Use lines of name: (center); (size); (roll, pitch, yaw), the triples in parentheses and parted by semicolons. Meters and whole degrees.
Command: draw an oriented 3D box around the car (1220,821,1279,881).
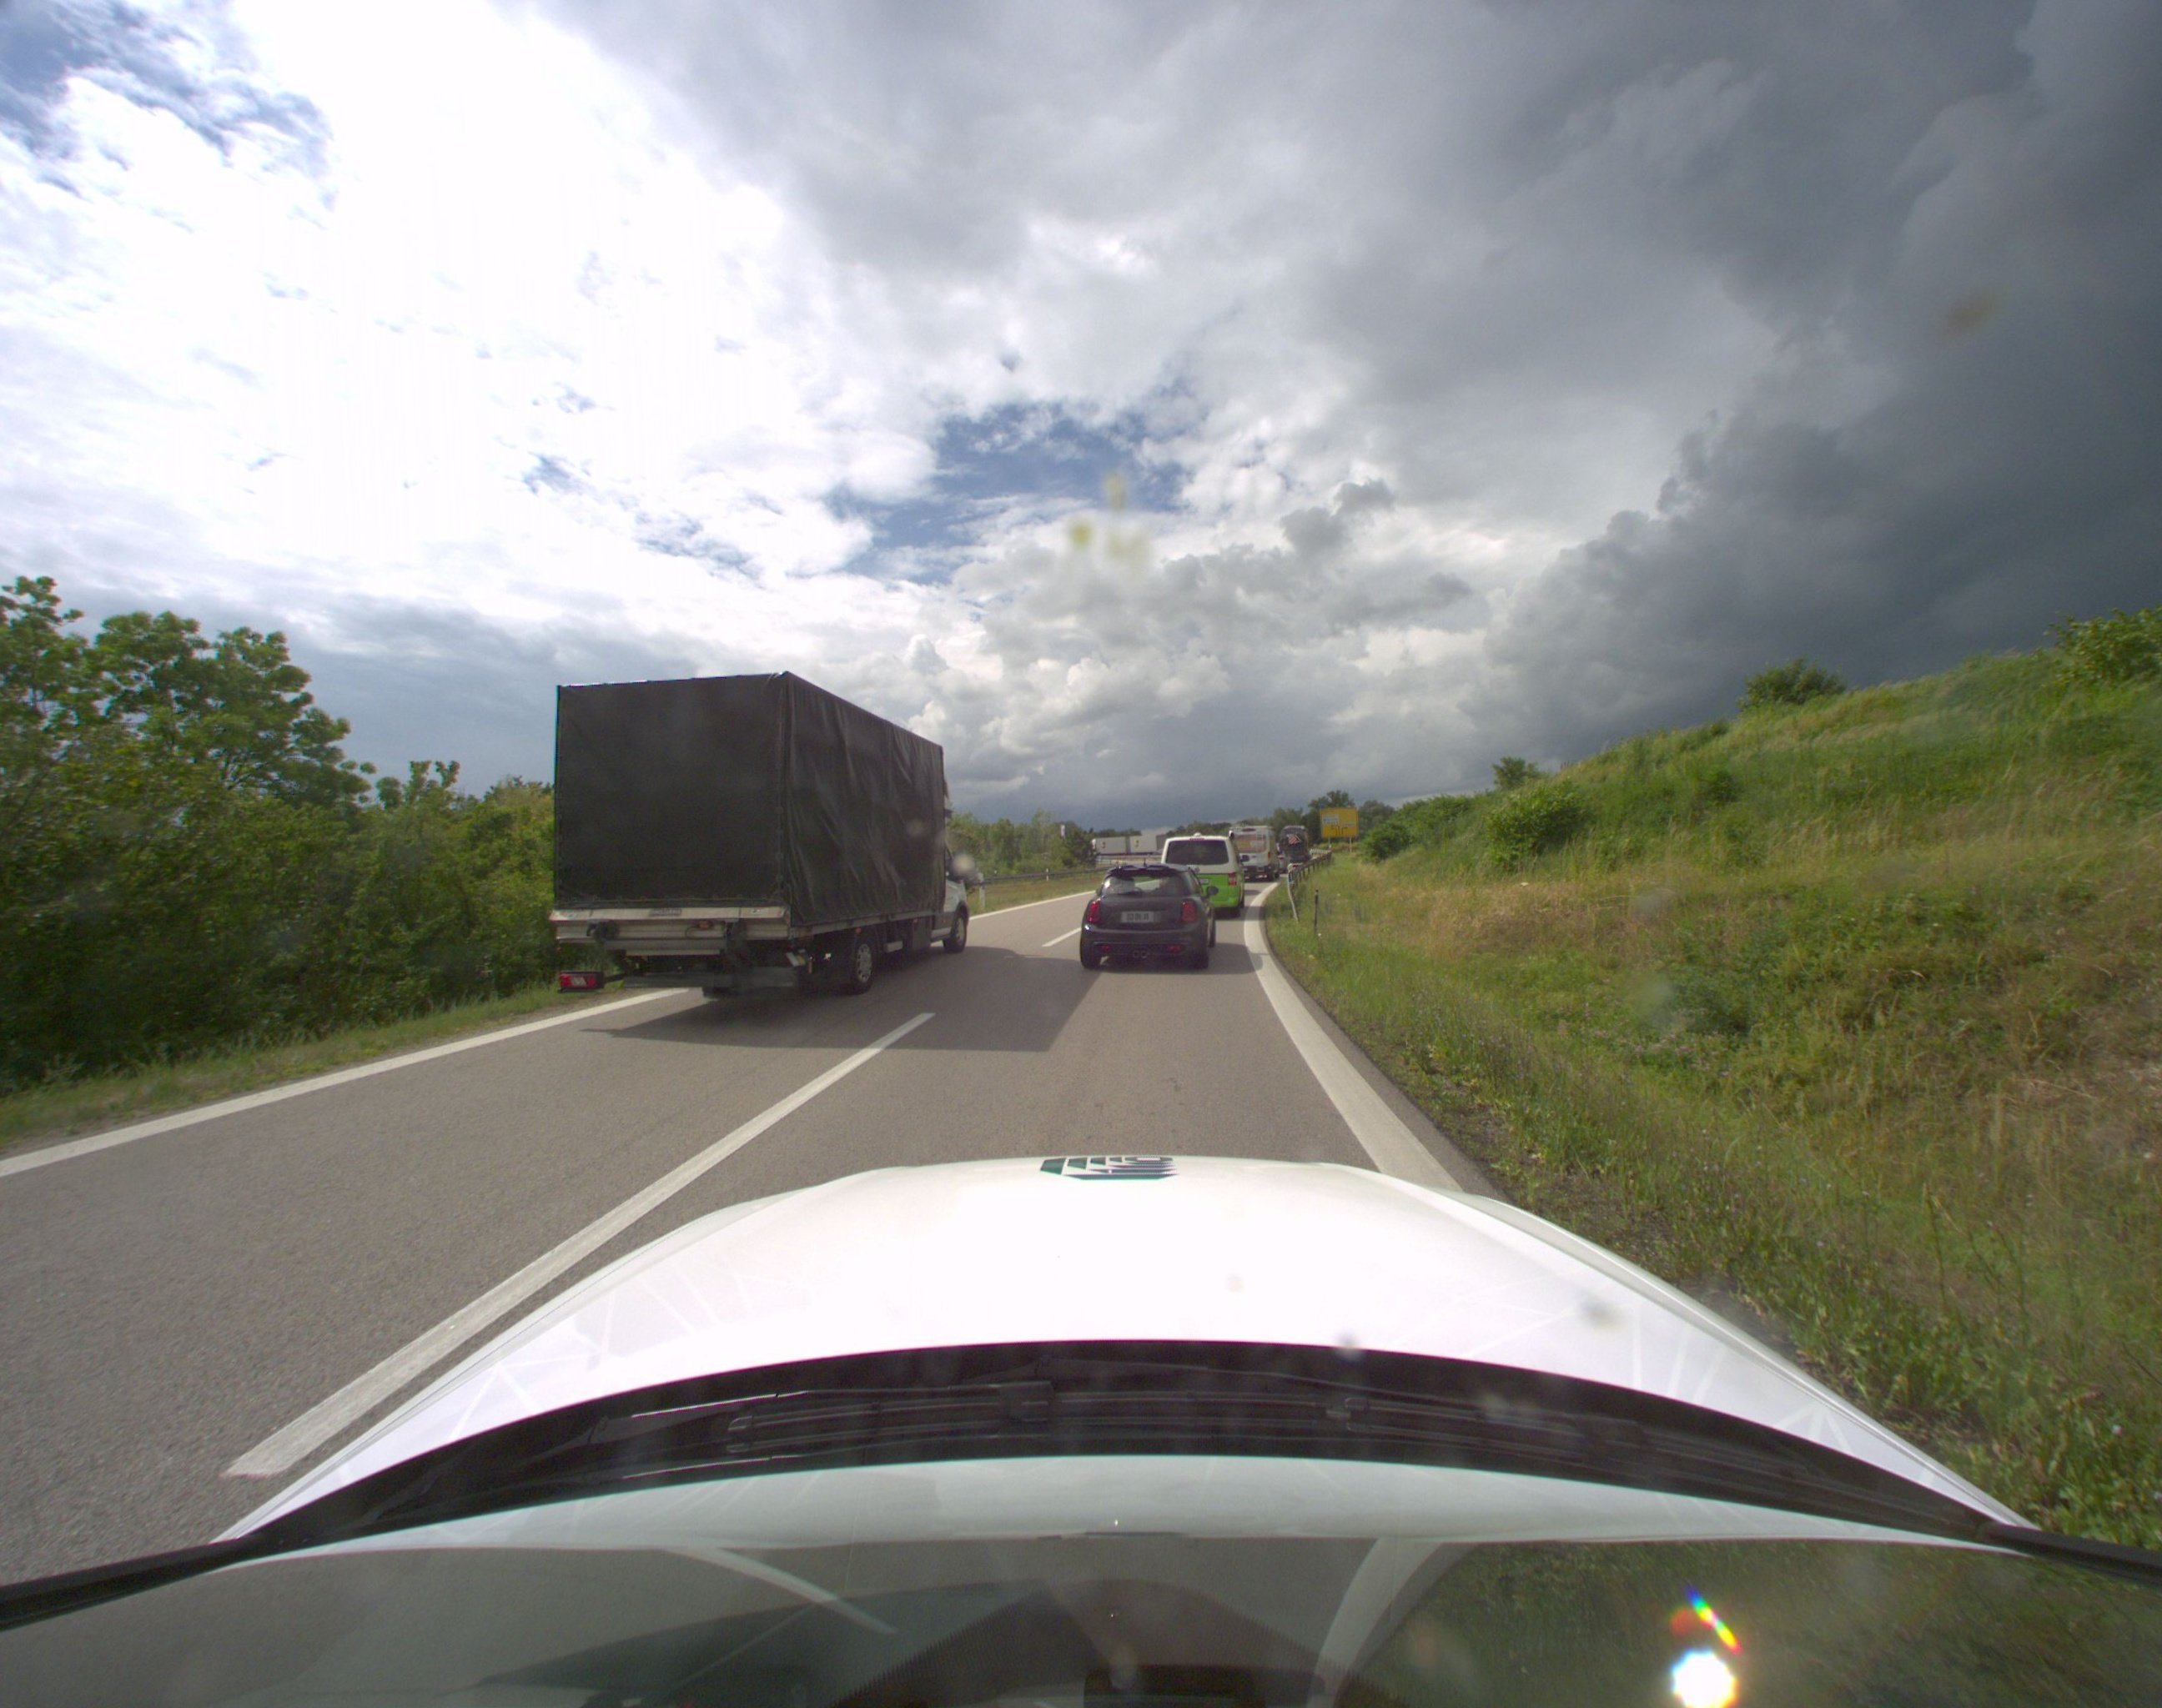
car: (8.162, -0.104, 38.959); (2.194, 2.622, 5.559); (-1, -1, 17)

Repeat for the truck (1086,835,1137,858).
truck: (5.479, -1.294, 147.902); (9.903, 3.976, 2.862); (-1, -1, 43)

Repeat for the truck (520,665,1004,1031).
truck: (-3.235, -0.005, 10.921); (2.545, 3.168, 7.487); (-1, -1, 9)

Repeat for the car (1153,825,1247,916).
car: (3.098, 0.392, 20.476); (1.897, 2.045, 4.197); (-1, 0, 14)

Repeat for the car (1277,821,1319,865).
car: (15.930, -0.721, 59.578); (2.291, 3.069, 6.695); (-1, -1, 20)

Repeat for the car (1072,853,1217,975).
car: (1.117, 0.783, 12.380); (1.788, 1.546, 3.749); (-1, 0, 10)

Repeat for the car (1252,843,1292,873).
car: (11.170, 0.227, 47.381); (1.978, 1.642, 3.946); (-1, -1, 17)

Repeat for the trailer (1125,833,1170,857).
trailer: (11.393, -1.470, 140.986); (3.057, 3.898, 8.681); (0, -1, -33)
